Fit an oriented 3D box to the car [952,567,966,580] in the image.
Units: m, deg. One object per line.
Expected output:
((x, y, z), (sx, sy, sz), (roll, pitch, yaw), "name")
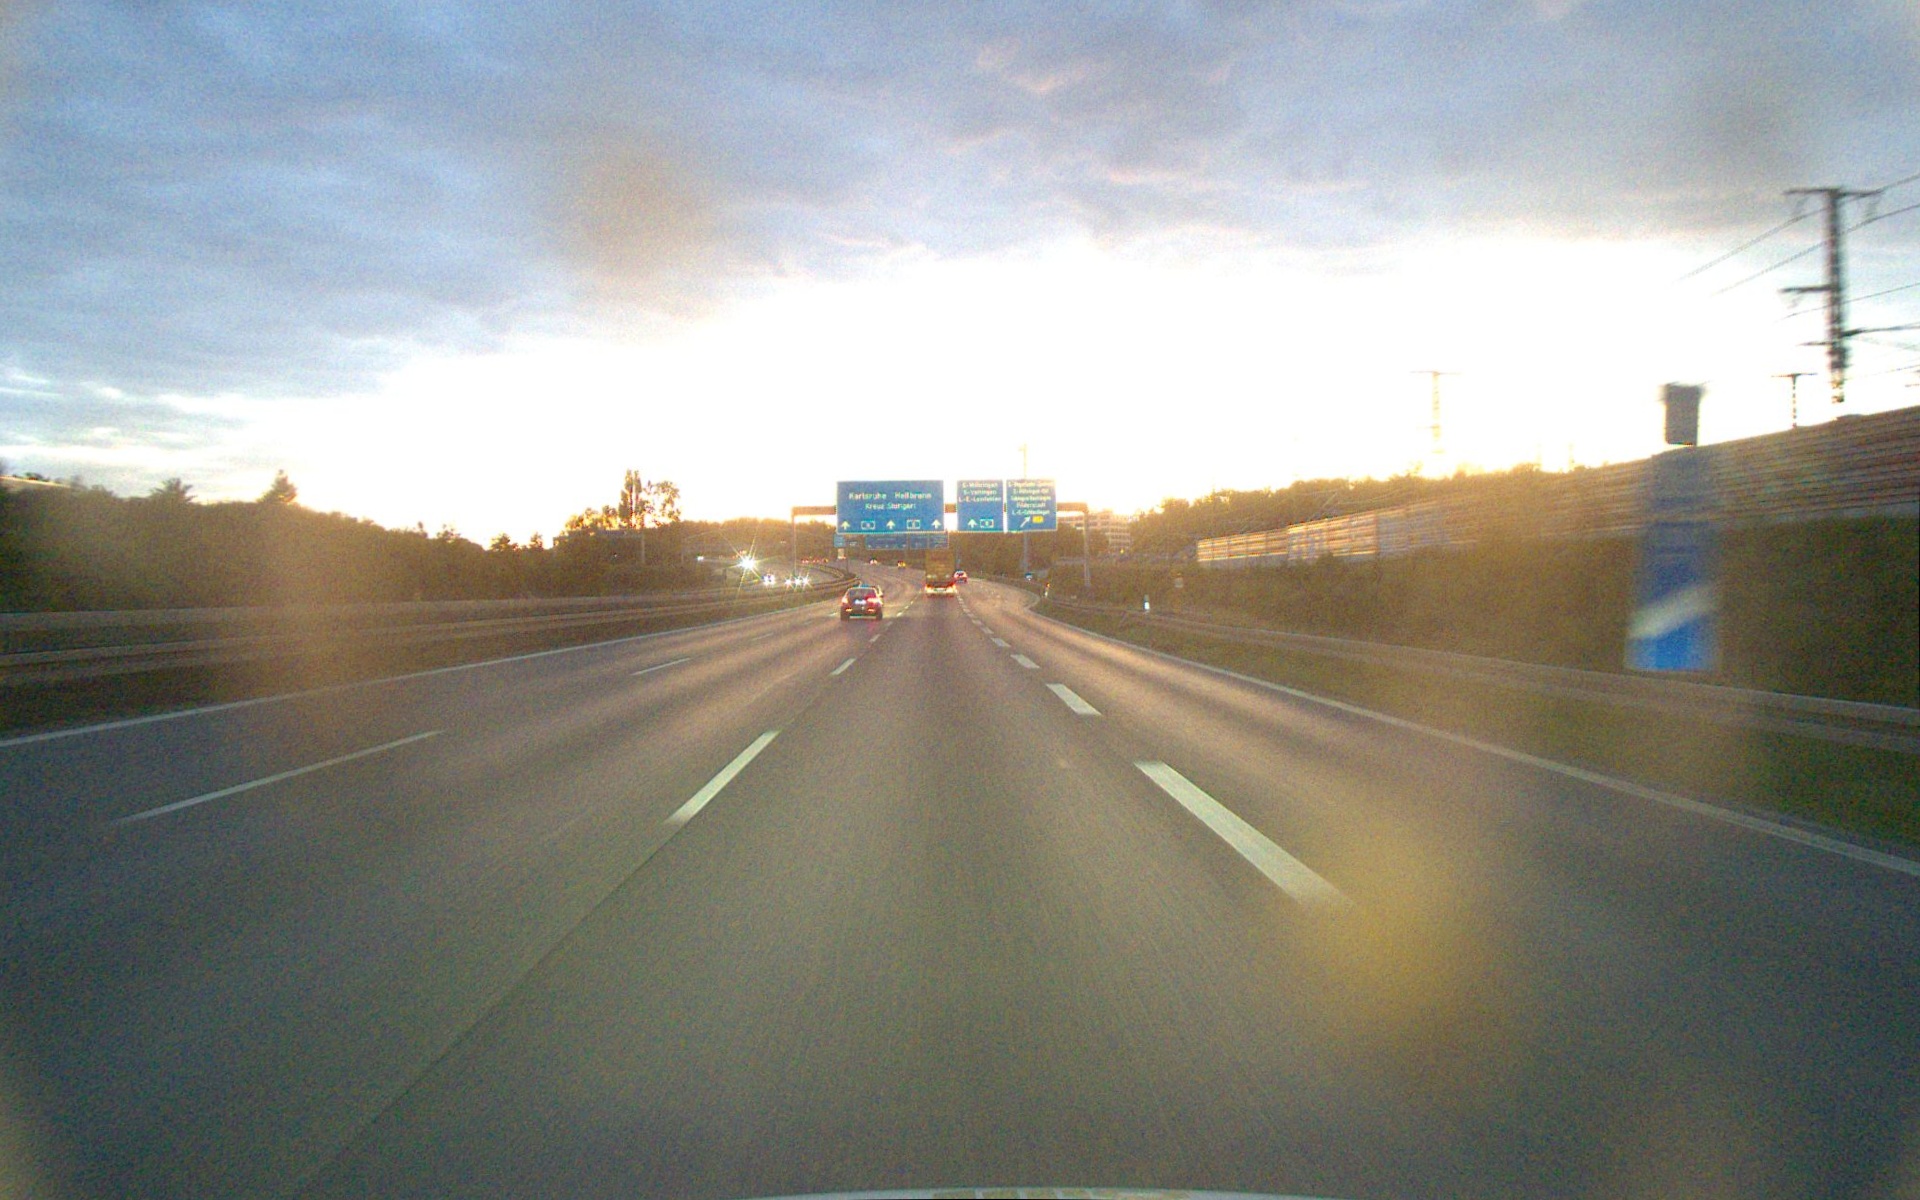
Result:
((-0.121, -3.888, 244.424), (1.953, 1.881, 3.998), (1, 0, -2), "car")

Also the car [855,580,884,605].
((-5.619, -0.445, 102.822), (1.656, 1.425, 3.407), (-3, 0, -2), "car")

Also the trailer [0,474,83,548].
((-58.931, -5.466, 103.585), (2.639, 4.142, 12.476), (0, 1, -6), "trailer")

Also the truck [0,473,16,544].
((-58.239, -5.447, 97.336), (2.639, 4.142, 5.470), (0, 1, -6), "truck")

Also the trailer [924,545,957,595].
((-1.765, -2.718, 146.434), (2.667, 4.141, 8.830), (-3, 2, -2), "trailer")

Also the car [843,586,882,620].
((-4.445, 0.126, 74.905), (1.656, 1.425, 3.406), (-3, 1, -4), "car")
